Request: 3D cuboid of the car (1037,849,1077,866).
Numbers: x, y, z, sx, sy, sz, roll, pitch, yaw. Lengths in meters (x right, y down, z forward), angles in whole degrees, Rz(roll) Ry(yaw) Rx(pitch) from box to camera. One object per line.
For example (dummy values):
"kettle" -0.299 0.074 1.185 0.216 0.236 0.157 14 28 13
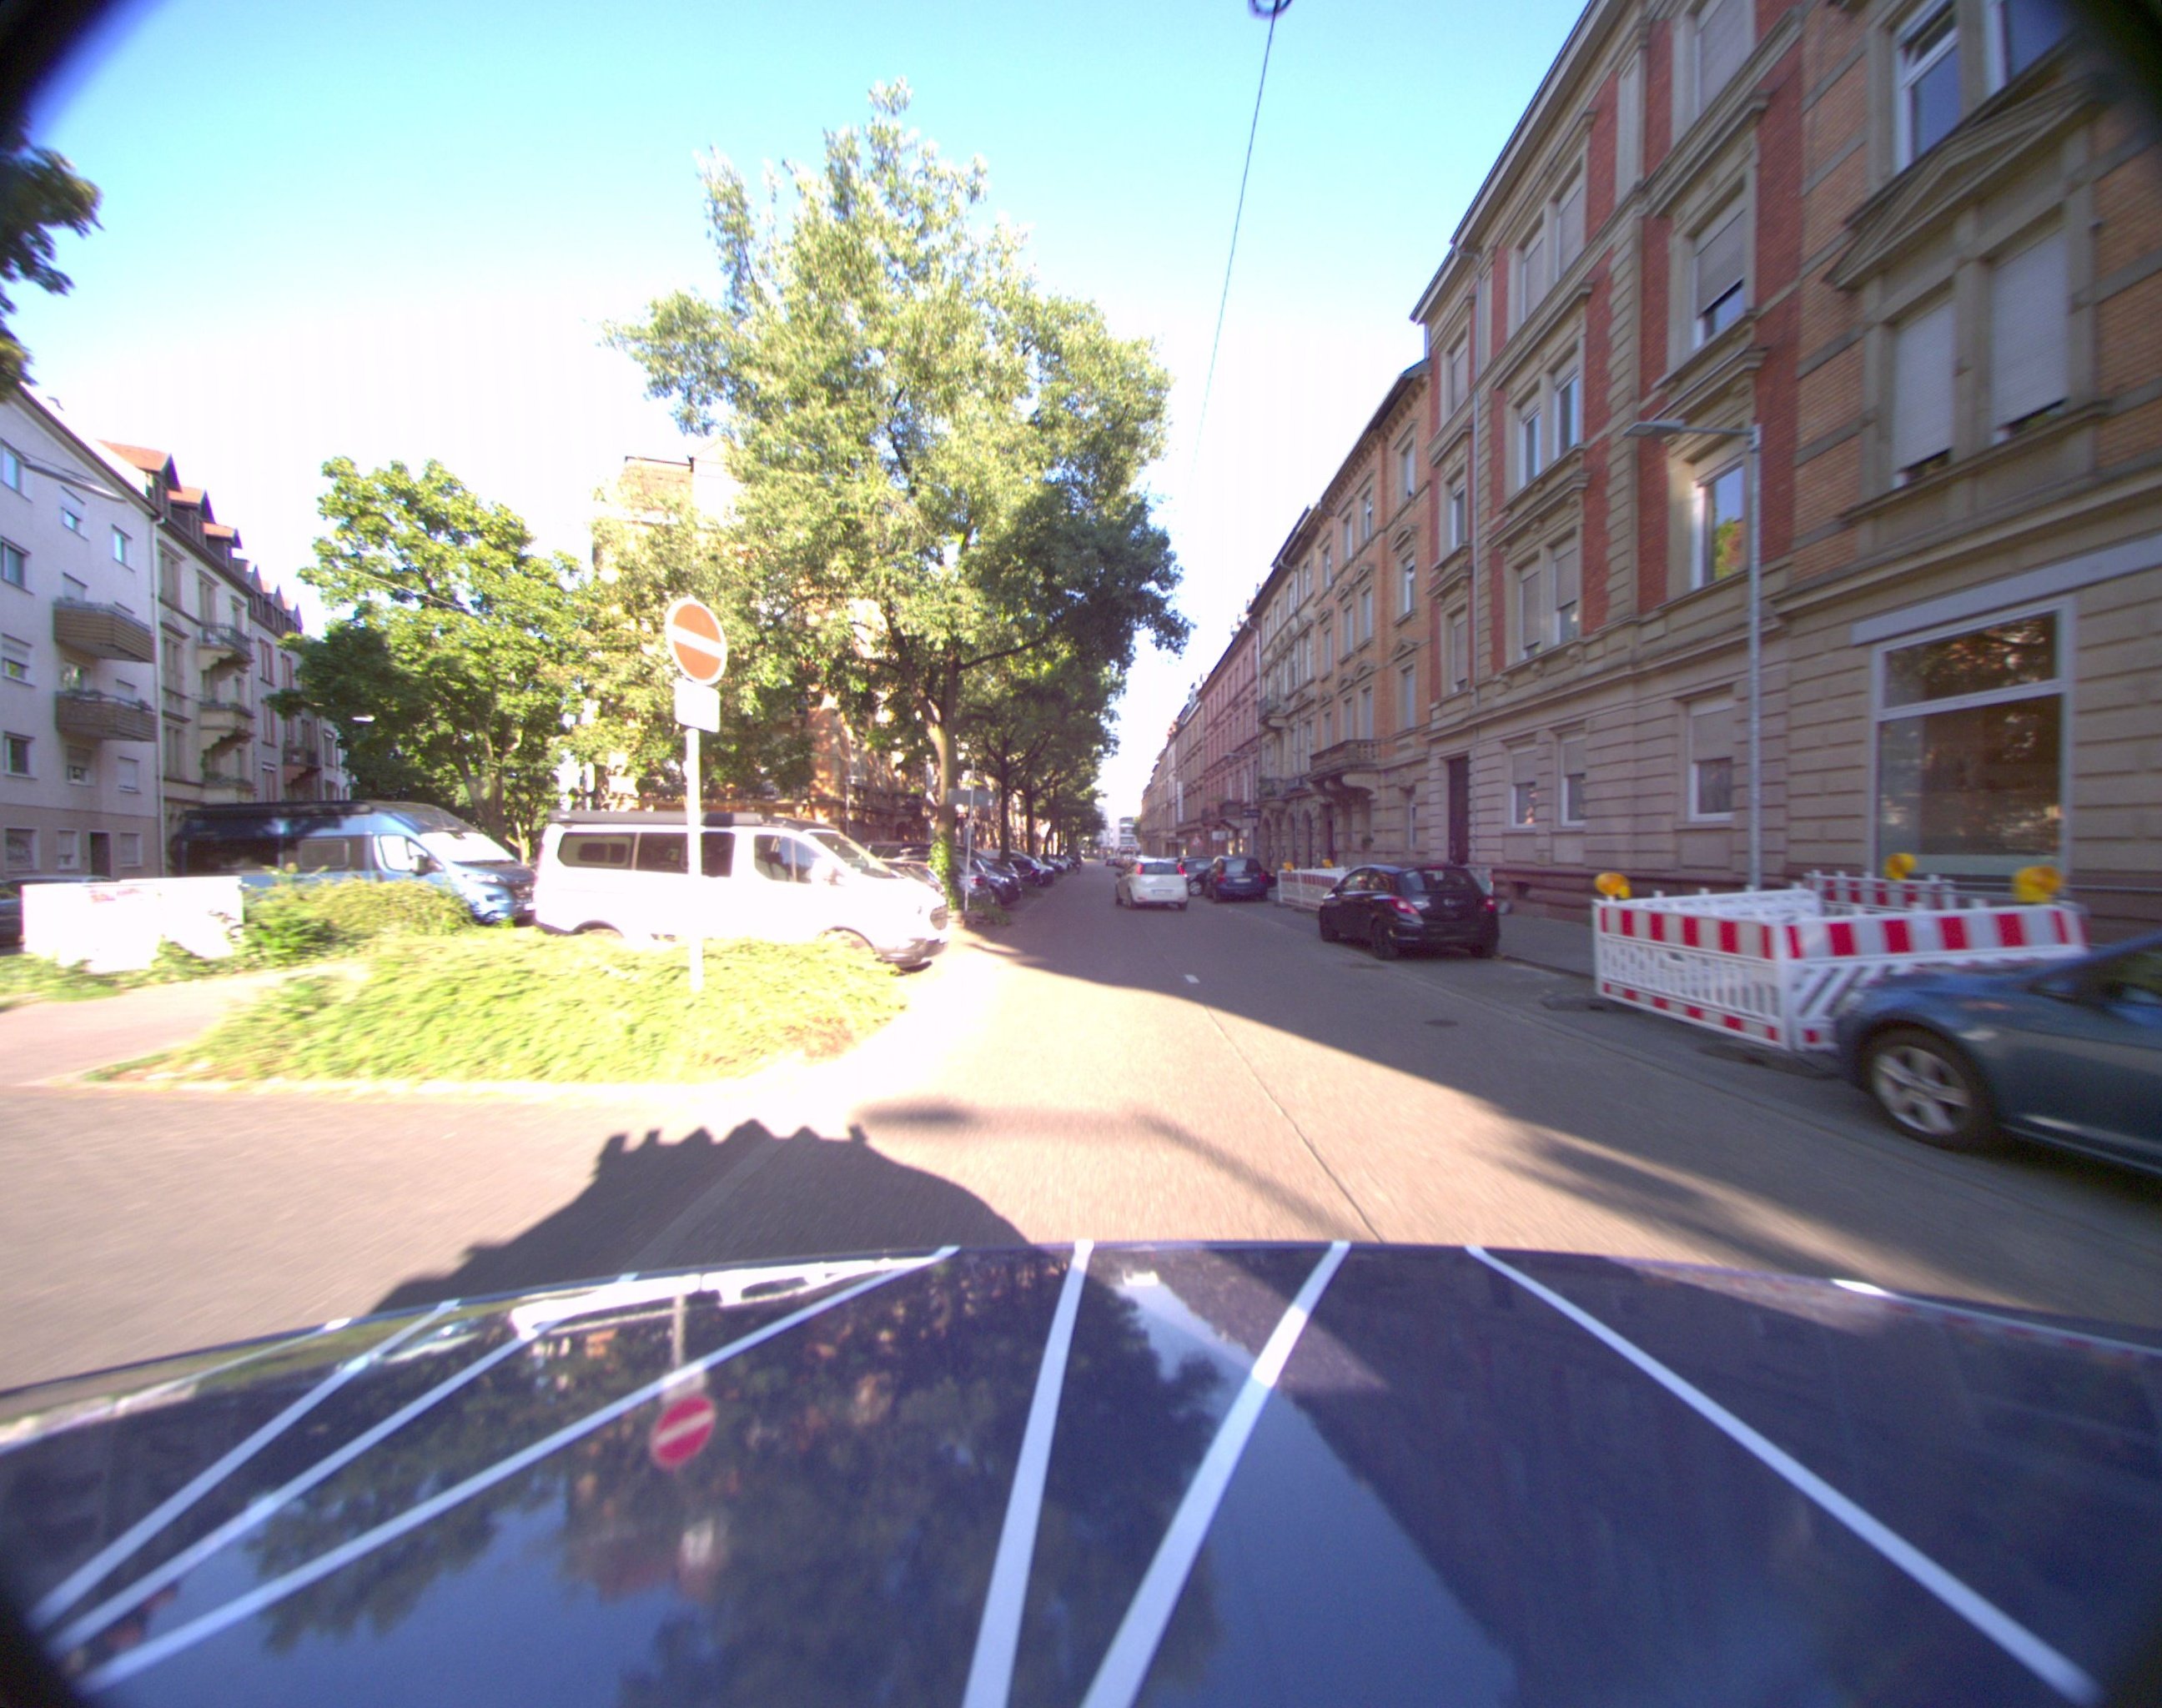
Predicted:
"car" -3.075 0.432 97.637 4.933 1.890 2.175 2 0 -2

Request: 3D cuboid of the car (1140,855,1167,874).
"car" 5.954 0.838 62.978 1.825 1.468 4.423 -2 0 1

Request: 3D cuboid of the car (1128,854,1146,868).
"car" 6.369 0.792 87.217 1.761 1.464 4.088 0 0 0

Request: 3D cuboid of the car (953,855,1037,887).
"car" -4.215 0.828 37.528 3.999 1.466 1.781 1 0 -6

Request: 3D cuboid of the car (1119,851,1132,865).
"car" 7.038 0.614 120.350 1.947 2.045 4.745 -1 0 1

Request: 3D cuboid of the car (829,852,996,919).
"car" -4.347 0.793 20.046 3.997 1.682 1.800 0 0 -1

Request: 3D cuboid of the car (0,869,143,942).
"car" -25.368 1.193 18.677 1.871 1.573 4.233 -1 0 -36

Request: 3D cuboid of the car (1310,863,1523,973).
"car" 5.226 0.908 12.474 1.708 1.446 4.020 0 0 0

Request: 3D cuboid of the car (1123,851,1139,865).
"car" 6.779 0.513 103.053 1.847 1.822 4.606 -1 0 0

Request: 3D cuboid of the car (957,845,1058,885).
"car" -3.811 0.579 40.155 5.104 1.930 2.157 0 4 1

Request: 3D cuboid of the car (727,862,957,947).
"car" -4.484 0.932 14.693 3.850 1.507 1.848 0 0 1

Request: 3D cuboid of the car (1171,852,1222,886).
"car" 5.762 0.727 38.343 1.652 1.565 4.048 -3 0 -3

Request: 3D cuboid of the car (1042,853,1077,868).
"car" -2.583 0.737 91.695 4.134 1.778 1.945 0 0 3

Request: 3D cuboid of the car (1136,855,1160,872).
"car" 6.126 0.863 69.404 1.825 1.417 4.314 -2 0 1

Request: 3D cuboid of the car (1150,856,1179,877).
"car" 5.836 0.870 53.424 1.709 1.430 3.959 0 0 1

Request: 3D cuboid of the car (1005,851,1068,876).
"car" -3.322 0.685 57.101 4.657 1.692 1.881 2 0 -2

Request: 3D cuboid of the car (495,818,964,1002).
"car" -4.178 0.642 9.716 4.986 2.084 2.106 0 0 1

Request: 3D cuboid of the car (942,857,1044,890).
"car" -3.944 0.879 34.687 4.380 1.447 1.934 0 0 1

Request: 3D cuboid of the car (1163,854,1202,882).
"car" 5.813 0.754 43.933 1.651 1.464 4.000 -3 0 1

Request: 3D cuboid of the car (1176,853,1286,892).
"car" 6.009 0.739 30.689 3.999 1.521 1.825 0 0 -5

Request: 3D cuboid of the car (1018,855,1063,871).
"car" -3.826 0.826 72.148 4.110 1.461 1.801 0 0 2

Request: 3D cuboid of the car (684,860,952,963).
"car" -4.243 0.907 12.708 3.850 1.586 1.741 0 0 1

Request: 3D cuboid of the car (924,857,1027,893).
"car" -4.422 0.865 32.301 4.091 1.489 1.843 0 0 1

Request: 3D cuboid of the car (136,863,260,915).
"car" -30.442 1.138 26.359 1.871 1.573 4.233 -1 0 -36

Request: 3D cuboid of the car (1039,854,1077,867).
"car" -2.500 0.685 83.020 3.996 1.448 1.687 0 0 2

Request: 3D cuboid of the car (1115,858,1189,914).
"car" 2.069 0.904 23.184 1.754 1.500 3.999 0 0 -2

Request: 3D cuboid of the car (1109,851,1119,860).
"car" 6.120 0.313 141.030 1.868 1.620 3.826 -1 0 3

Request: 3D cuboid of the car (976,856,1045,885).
"car" -4.121 0.946 44.920 3.894 1.639 1.724 0 0 -1

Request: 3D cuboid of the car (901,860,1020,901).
"car" -4.380 0.942 28.001 3.995 1.439 1.891 0 0 5

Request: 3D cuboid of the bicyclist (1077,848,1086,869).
"bicyclist" 0.056 0.405 67.810 0.712 1.865 1.120 1 0 1

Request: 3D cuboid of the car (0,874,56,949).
"car" -22.517 1.186 14.790 1.871 1.466 4.233 -1 0 -36

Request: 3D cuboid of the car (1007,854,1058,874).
"car" -3.790 0.793 59.788 3.998 1.581 1.782 0 0 -2

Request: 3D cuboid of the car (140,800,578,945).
"car" -13.578 0.299 14.734 5.912 2.522 2.379 -1 1 -5

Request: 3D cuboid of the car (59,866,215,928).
"car" -27.820 1.188 22.577 1.871 1.573 4.233 -1 0 -36

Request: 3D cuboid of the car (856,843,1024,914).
"car" -4.066 0.690 22.563 4.627 2.002 2.000 0 0 -1

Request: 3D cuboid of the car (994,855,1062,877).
"car" -3.697 0.856 53.410 4.563 1.520 2.000 0 0 2

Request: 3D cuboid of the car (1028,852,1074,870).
"car" -2.933 0.712 74.765 4.487 1.647 1.891 -1 2 0

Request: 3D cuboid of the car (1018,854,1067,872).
"car" -3.252 0.782 65.087 3.997 1.380 1.678 3 0 0

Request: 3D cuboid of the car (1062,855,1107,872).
"car" 0.405 0.951 77.438 4.486 1.647 1.891 0 2 3

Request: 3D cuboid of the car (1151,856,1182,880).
"car" 5.405 0.864 48.545 1.586 1.464 4.000 0 0 1

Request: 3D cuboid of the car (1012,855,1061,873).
"car" -3.645 0.823 62.383 3.998 1.454 1.782 0 0 -2

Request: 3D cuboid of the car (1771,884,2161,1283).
"car" 4.985 0.907 2.353 1.769 1.429 4.300 0 0 -1

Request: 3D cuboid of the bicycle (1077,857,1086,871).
"bicycle" 0.037 0.871 67.766 0.712 1.252 1.888 1 0 1

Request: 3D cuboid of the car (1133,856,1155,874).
"car" 6.074 1.017 73.617 1.825 1.591 4.314 -2 0 1

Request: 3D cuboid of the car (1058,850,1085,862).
"car" -1.776 0.378 142.271 4.699 1.966 1.926 4 1 1

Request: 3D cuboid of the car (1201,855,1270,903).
"car" 5.374 0.812 26.891 1.745 1.558 3.895 0 0 2
